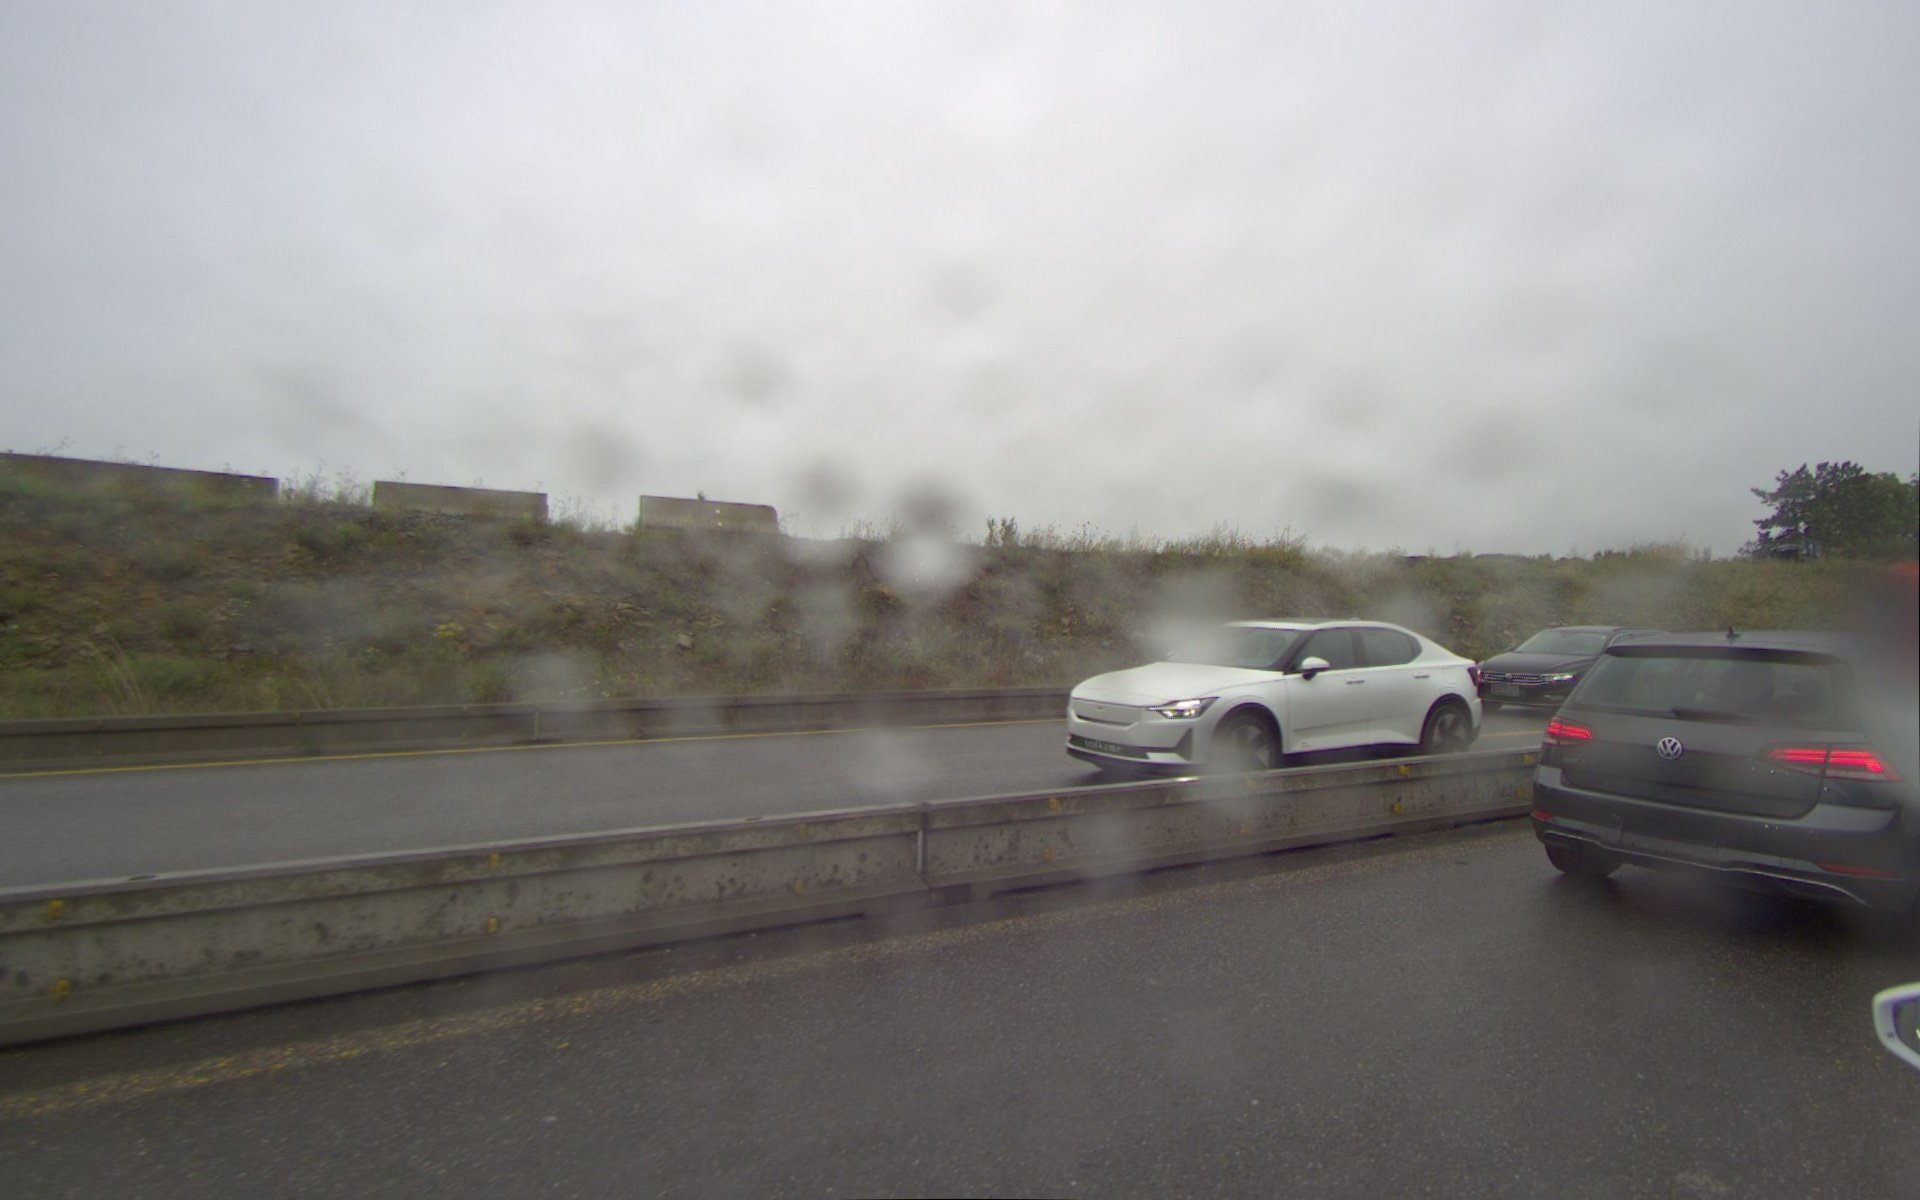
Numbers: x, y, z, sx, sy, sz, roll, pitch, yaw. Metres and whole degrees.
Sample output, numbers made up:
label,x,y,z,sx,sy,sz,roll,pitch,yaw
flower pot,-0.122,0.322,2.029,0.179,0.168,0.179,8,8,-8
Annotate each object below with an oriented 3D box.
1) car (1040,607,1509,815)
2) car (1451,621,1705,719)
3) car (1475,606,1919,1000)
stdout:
label,x,y,z,sx,sy,sz,roll,pitch,yaw
car,3.041,0.853,9.512,4.284,1.520,1.868,0,1,-31
car,10.693,1.139,17.292,4.616,1.463,1.760,1,0,-30
car,4.980,0.869,5.712,4.317,1.526,1.606,2,-2,-31
